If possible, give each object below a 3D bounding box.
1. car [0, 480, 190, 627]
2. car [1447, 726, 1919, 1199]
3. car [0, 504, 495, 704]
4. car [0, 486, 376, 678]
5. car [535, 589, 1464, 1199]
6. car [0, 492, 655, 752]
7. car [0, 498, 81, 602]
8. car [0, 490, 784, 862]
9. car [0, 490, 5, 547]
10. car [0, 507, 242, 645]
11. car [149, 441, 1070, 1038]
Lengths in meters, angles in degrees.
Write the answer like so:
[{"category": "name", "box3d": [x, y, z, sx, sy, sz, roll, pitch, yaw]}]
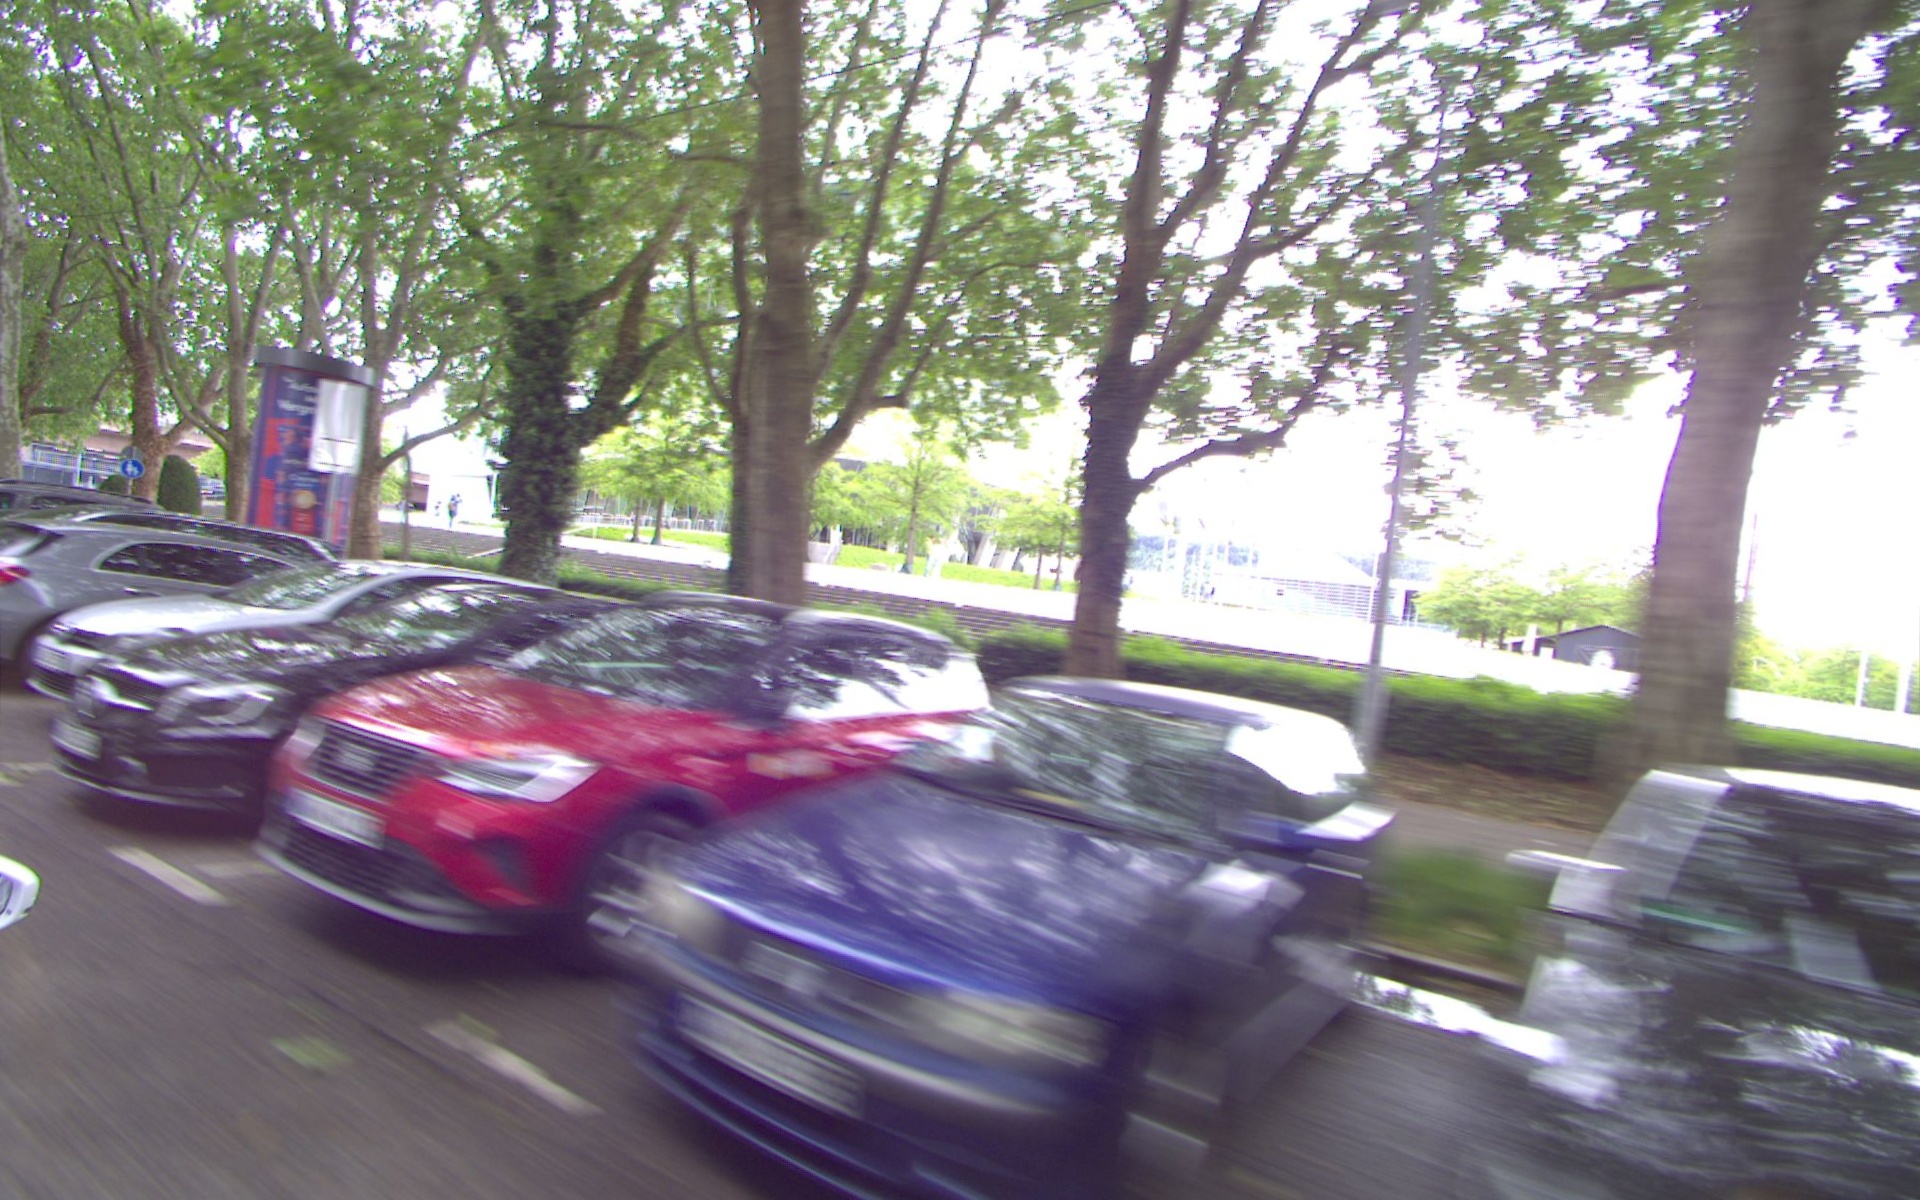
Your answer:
[{"category": "car", "box3d": [-13.439, -0.799, 13.571, 1.805, 1.765, 4.357, 8, -2, 29]}, {"category": "car", "box3d": [2.565, 1.212, 2.692, 1.900, 1.444, 4.505, 7, -2, 32]}, {"category": "car", "box3d": [-7.175, 0.107, 9.825, 1.893, 1.429, 4.355, 8, -2, 32]}, {"category": "car", "box3d": [-9.256, -0.221, 10.890, 1.842, 1.658, 4.599, 8, -2, 33]}, {"category": "car", "box3d": [0.818, 1.010, 4.278, 1.799, 1.436, 4.504, 7, -2, 33]}, {"category": "car", "box3d": [-5.018, 0.310, 8.588, 1.893, 1.519, 4.357, 8, -2, 30]}, {"category": "car", "box3d": [-15.705, -0.996, 14.499, 1.698, 1.474, 4.157, 7, -2, 32]}, {"category": "car", "box3d": [-3.336, 0.494, 6.818, 1.891, 1.519, 4.361, 8, -2, 26]}, {"category": "car", "box3d": [-19.637, -1.488, 17.904, 1.652, 1.511, 3.439, 7, 0, 30]}, {"category": "car", "box3d": [-11.492, -0.392, 12.222, 1.715, 1.395, 4.049, 8, -2, 32]}, {"category": "car", "box3d": [-1.281, 0.586, 5.630, 2.012, 1.817, 4.507, 8, -2, 29]}]
